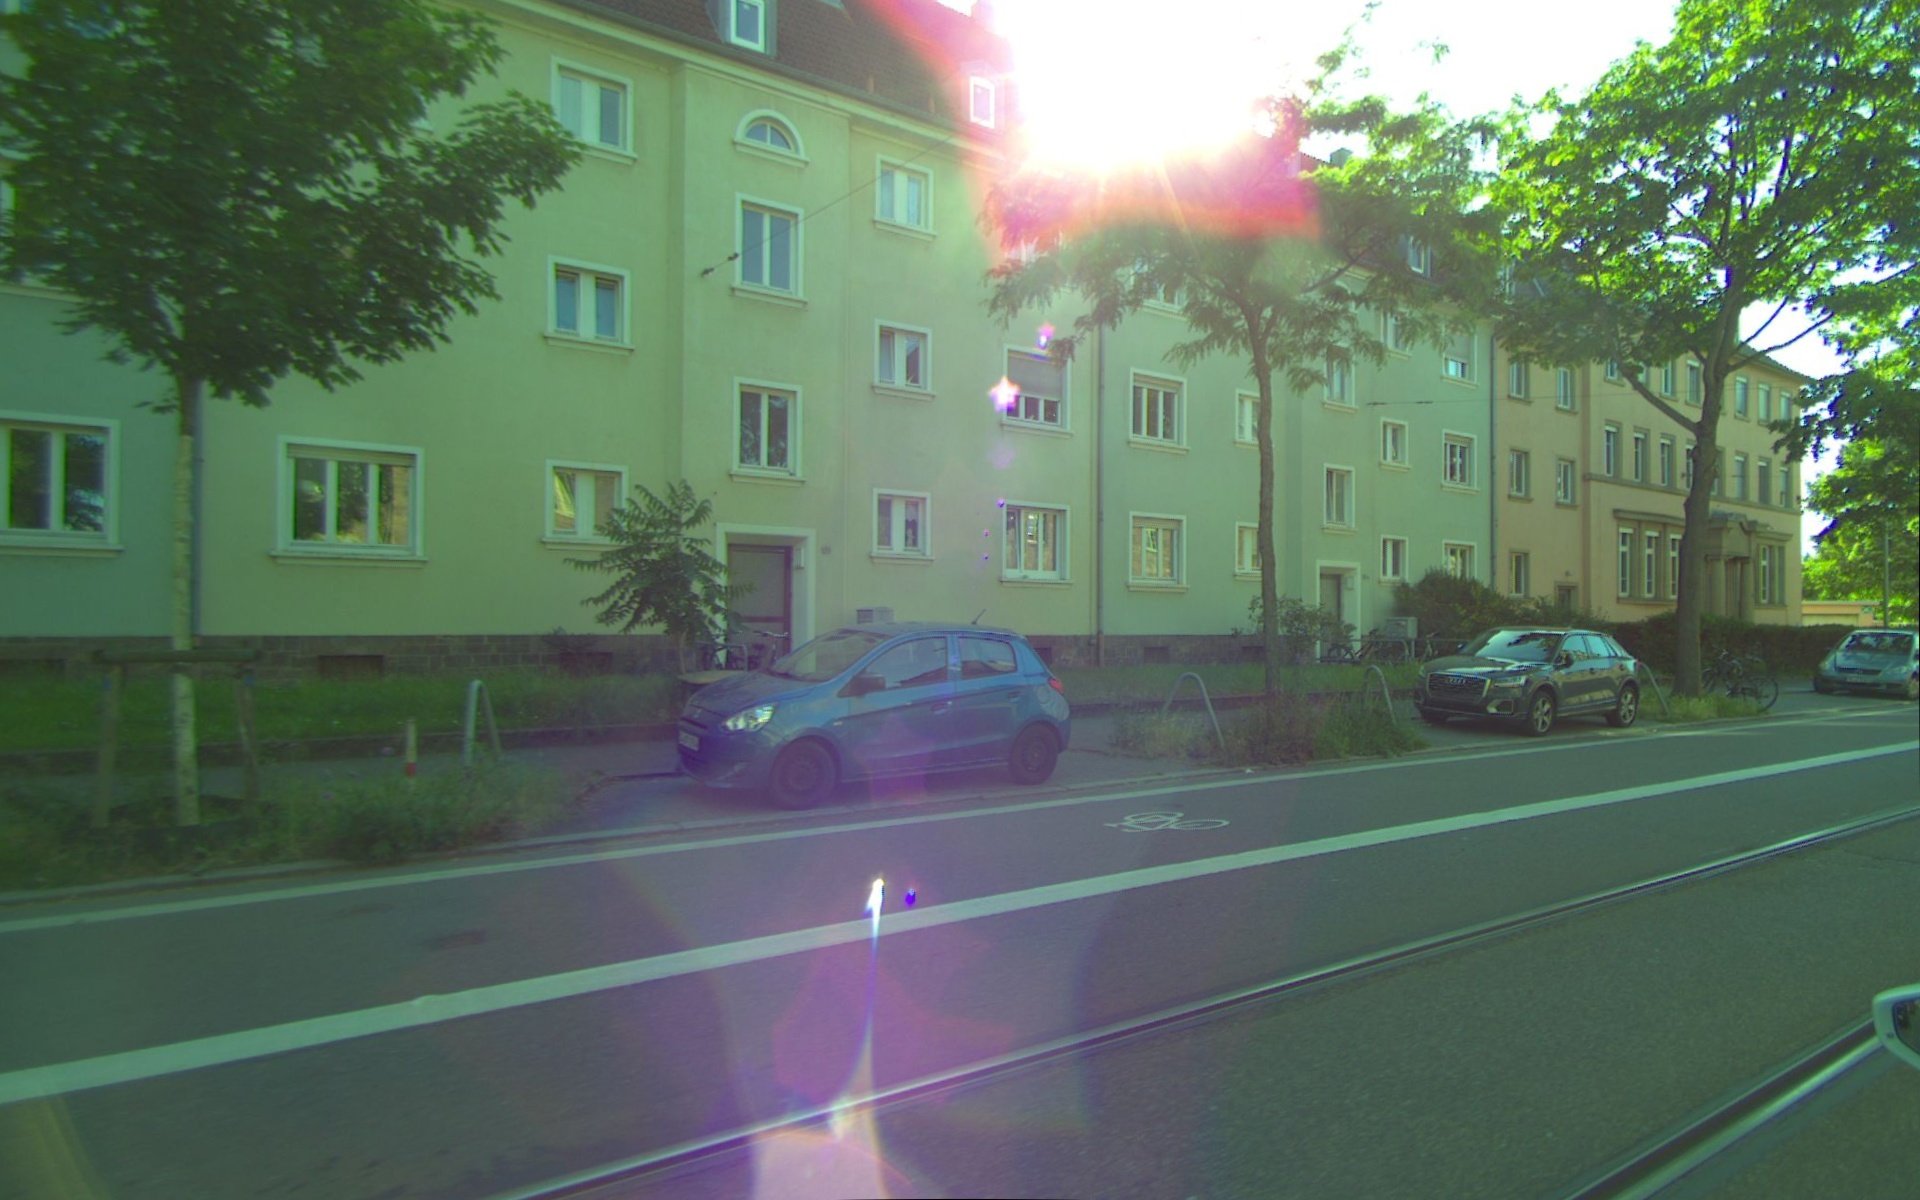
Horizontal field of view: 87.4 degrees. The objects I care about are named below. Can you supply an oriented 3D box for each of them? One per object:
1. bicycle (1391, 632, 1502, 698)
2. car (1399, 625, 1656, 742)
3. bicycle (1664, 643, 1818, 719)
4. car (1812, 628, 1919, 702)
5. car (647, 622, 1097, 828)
[{"bbox_3d":[10.390,1.362,21.556,0.552,1.214,2.277,0,1,-25],"label":"bicycle"},{"bbox_3d":[8.875,1.197,15.604,4.278,1.510,1.734,1,1,-34],"label":"car"},{"bbox_3d":[14.737,1.498,19.043,0.552,1.214,2.277,0,1,-25],"label":"bicycle"},{"bbox_3d":[22.633,1.516,24.607,4.029,1.590,1.733,1,1,-35],"label":"car"},{"bbox_3d":[-0.714,0.988,9.302,3.891,1.476,1.550,1,1,-35],"label":"car"}]
